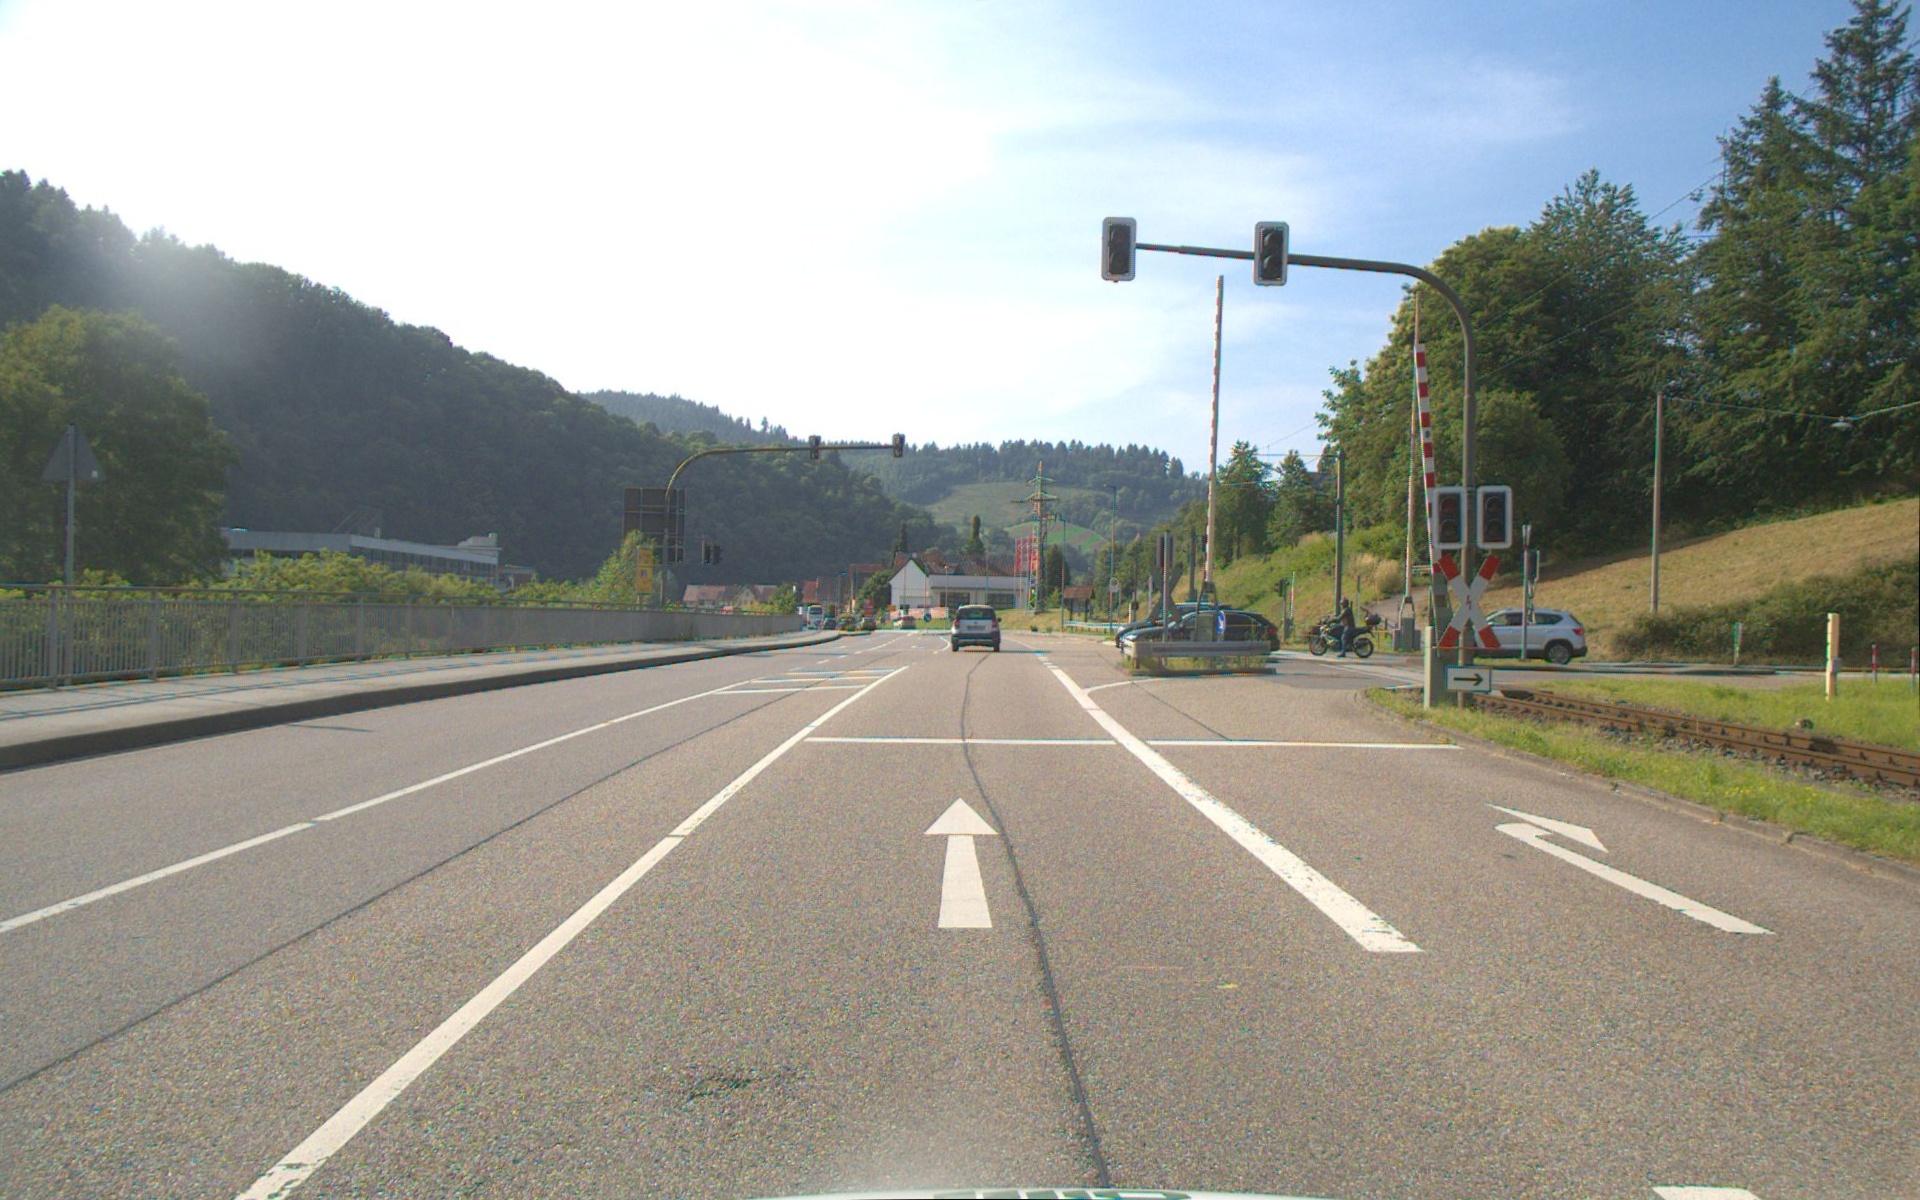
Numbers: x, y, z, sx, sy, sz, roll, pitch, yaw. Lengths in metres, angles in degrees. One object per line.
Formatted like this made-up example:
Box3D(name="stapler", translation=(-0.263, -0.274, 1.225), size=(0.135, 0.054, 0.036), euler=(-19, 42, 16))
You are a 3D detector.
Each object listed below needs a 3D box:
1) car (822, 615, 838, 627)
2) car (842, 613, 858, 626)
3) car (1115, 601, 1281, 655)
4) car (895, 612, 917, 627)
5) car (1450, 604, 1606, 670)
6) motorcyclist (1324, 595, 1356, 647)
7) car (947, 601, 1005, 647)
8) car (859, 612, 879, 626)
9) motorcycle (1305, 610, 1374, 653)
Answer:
Box3D(name="car", translation=(-16.574, 2.636, 210.468), size=(1.431, 1.460, 2.920), euler=(2, 0, -18))
Box3D(name="car", translation=(-12.864, 2.312, 193.260), size=(1.214, 1.460, 2.627), euler=(-1, 0, -18))
Box3D(name="car", translation=(6.899, 0.820, 48.291), size=(4.627, 1.496, 1.842), euler=(-1, -1, 3))
Box3D(name="car", translation=(-5.359, 1.913, 162.949), size=(1.430, 1.460, 2.922), euler=(2, 0, -17))
Box3D(name="car", translation=(16.139, 1.034, 47.181), size=(4.025, 1.716, 1.836), euler=(2, 0, 14))
Box3D(name="motorcyclist", translation=(11.997, 0.656, 52.196), size=(0.887, 1.625, 0.766), euler=(2, 0, 17))
Box3D(name="car", translation=(0.618, 0.881, 60.326), size=(1.822, 1.571, 4.374), euler=(1, -1, 4))
Box3D(name="car", translation=(-9.863, 2.034, 178.463), size=(1.431, 1.460, 2.920), euler=(2, 0, -18))
Box3D(name="motorcycle", translation=(11.981, 0.973, 52.201), size=(2.049, 1.276, 0.799), euler=(2, 0, 19))
